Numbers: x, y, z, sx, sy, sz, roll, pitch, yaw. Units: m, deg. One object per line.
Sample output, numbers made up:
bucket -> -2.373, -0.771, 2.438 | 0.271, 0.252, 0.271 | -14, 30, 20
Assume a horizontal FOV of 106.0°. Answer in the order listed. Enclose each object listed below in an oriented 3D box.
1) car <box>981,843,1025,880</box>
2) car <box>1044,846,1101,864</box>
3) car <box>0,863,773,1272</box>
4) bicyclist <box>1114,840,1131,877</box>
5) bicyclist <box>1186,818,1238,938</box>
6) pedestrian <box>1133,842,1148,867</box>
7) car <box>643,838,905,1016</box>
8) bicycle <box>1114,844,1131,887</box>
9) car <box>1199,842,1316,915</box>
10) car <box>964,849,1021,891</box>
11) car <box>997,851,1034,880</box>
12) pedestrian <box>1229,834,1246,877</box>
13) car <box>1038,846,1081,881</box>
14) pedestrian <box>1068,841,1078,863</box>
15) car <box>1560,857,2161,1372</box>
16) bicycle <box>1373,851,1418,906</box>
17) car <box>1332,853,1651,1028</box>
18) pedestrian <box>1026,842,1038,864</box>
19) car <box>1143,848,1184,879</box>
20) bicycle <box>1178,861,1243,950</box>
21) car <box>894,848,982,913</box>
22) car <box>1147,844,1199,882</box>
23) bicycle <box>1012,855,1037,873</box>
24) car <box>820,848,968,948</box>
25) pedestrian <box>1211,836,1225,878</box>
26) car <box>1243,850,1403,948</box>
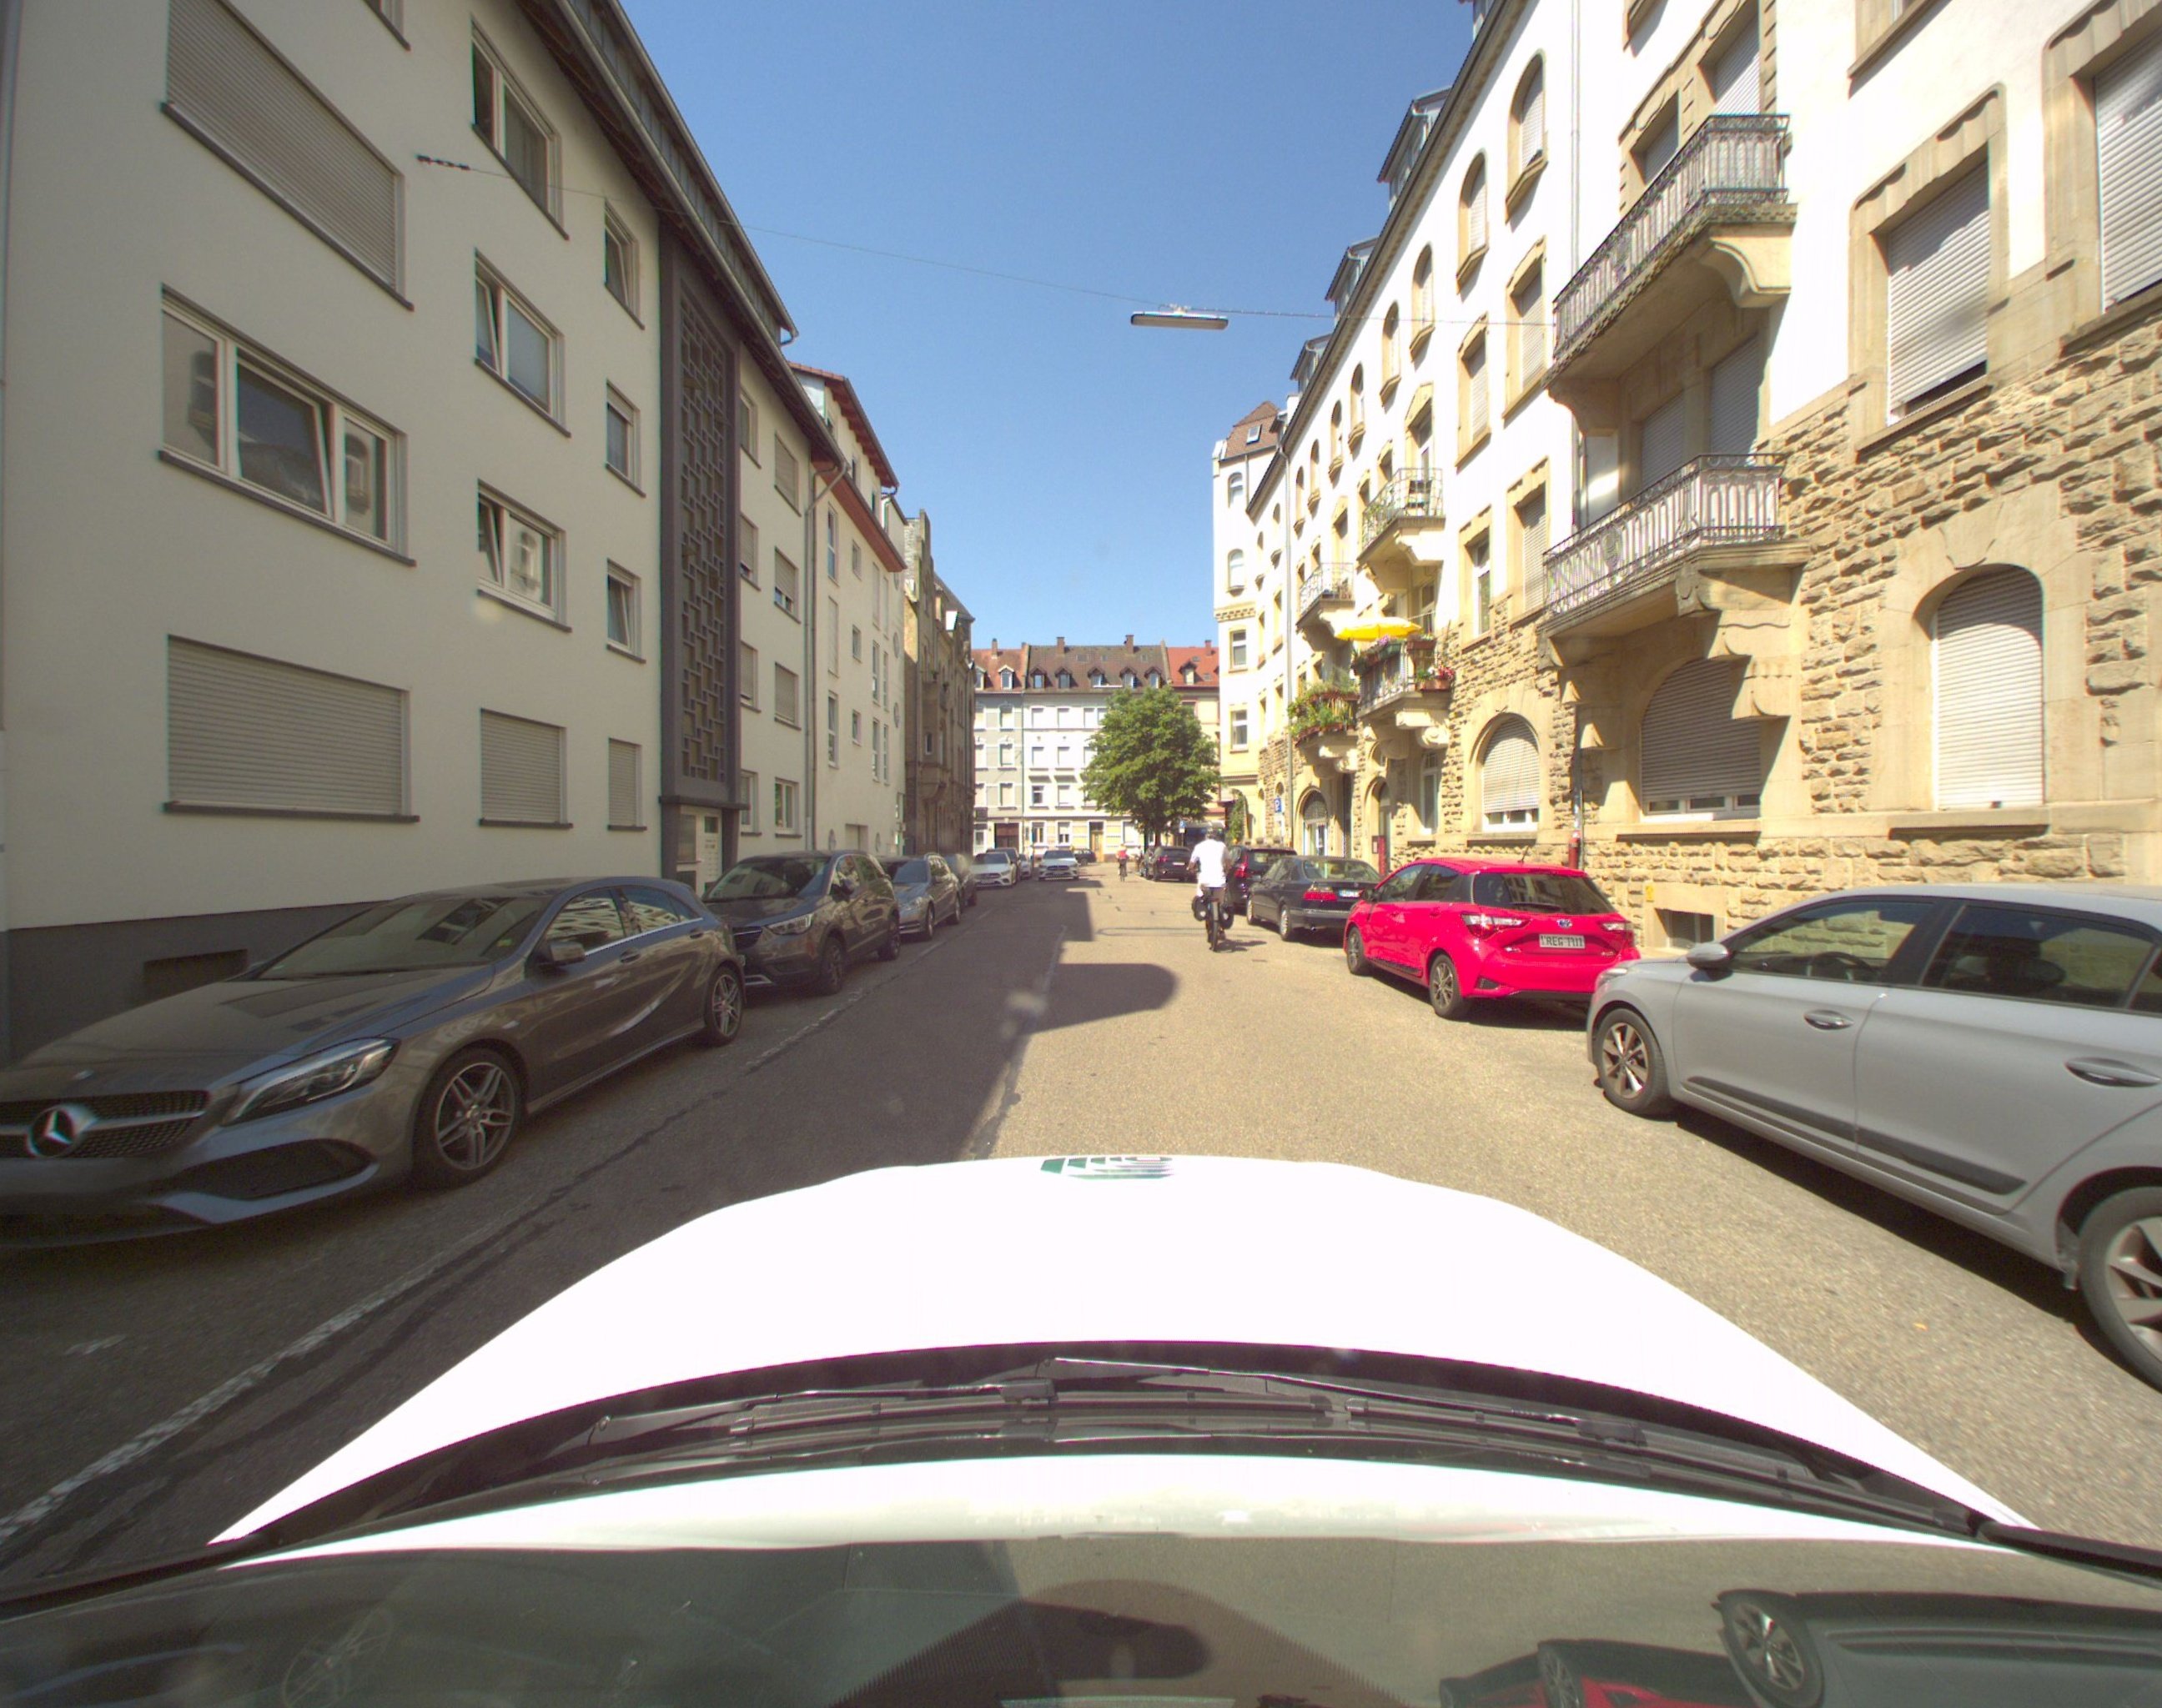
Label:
car -> -3.565, 0.322, 37.903 | 1.668, 1.583, 4.050 | -3, 0, -2
car -> -0.742, 0.098, 70.713 | 4.844, 1.437, 2.000 | -1, 0, -1
car -> -3.717, 0.836, 5.219 | 1.759, 1.393, 4.348 | -3, 0, 0
bicyclist -> 1.788, 0.195, 34.840 | 0.668, 1.533, 0.609 | -1, 0, 1
bicyclist -> 1.975, 0.356, 12.354 | 0.668, 1.760, 0.609 | 1, 0, 1
pedestrian -> 3.972, 0.014, 54.398 | 0.854, 1.672, 0.774 | -1, 0, 0
car -> -3.402, 0.701, 9.889 | 1.598, 1.644, 3.976 | -3, 0, 0
bicycle -> 1.775, 0.464, 34.859 | 0.649, 1.743, 2.442 | 1, 0, 1
car -> 4.203, 0.520, 20.158 | 1.828, 1.567, 4.603 | 1, 0, -1
car -> -3.490, 0.588, 32.734 | 1.771, 1.460, 4.278 | -3, 0, 0
car -> -3.381, 0.568, 42.922 | 1.697, 1.352, 4.511 | -3, 0, -2
pedestrian -> 6.972, 0.061, 36.248 | 0.597, 1.880, 0.883 | -1, 0, 3
car -> -0.958, 0.418, 37.979 | 1.835, 1.460, 4.361 | -3, 0, 0
pedestrian -> -0.666, -0.152, 69.366 | 0.724, 1.853, 0.682 | -1, 0, -10
car -> 3.975, 0.775, 3.591 | 1.583, 1.452, 3.859 | 1, 0, 3
bicycle -> 7.217, 0.536, 18.760 | 0.383, 1.208, 1.776 | -1, 0, 2
car -> 4.109, 0.738, 8.900 | 1.565, 1.452, 3.843 | 1, 0, 0
pedestrian -> -4.235, -0.060, 70.271 | 0.844, 1.889, 0.938 | -1, 0, 10
car -> 4.233, 0.456, 42.303 | 1.657, 1.540, 4.178 | 1, 0, 0
bicycle -> 1.982, 0.737, 12.763 | 0.649, 1.228, 2.442 | 1, 0, 1
car -> -3.666, 0.633, 21.500 | 1.562, 1.491, 3.893 | -3, 0, 0
car -> 4.152, 0.359, 37.389 | 1.731, 1.596, 4.345 | 1, 0, -2
bicycle -> -3.432, 0.612, 49.624 | 1.522, 1.008, 0.366 | 2, 0, -5
car -> -3.335, 0.697, 15.450 | 1.651, 1.518, 4.670 | -3, 0, 0
pedestrian -> 6.103, 0.127, 36.226 | 0.517, 1.869, 0.654 | -1, 0, 1
car -> 4.104, 0.683, 14.446 | 1.508, 1.398, 3.970 | 3, 0, -2
